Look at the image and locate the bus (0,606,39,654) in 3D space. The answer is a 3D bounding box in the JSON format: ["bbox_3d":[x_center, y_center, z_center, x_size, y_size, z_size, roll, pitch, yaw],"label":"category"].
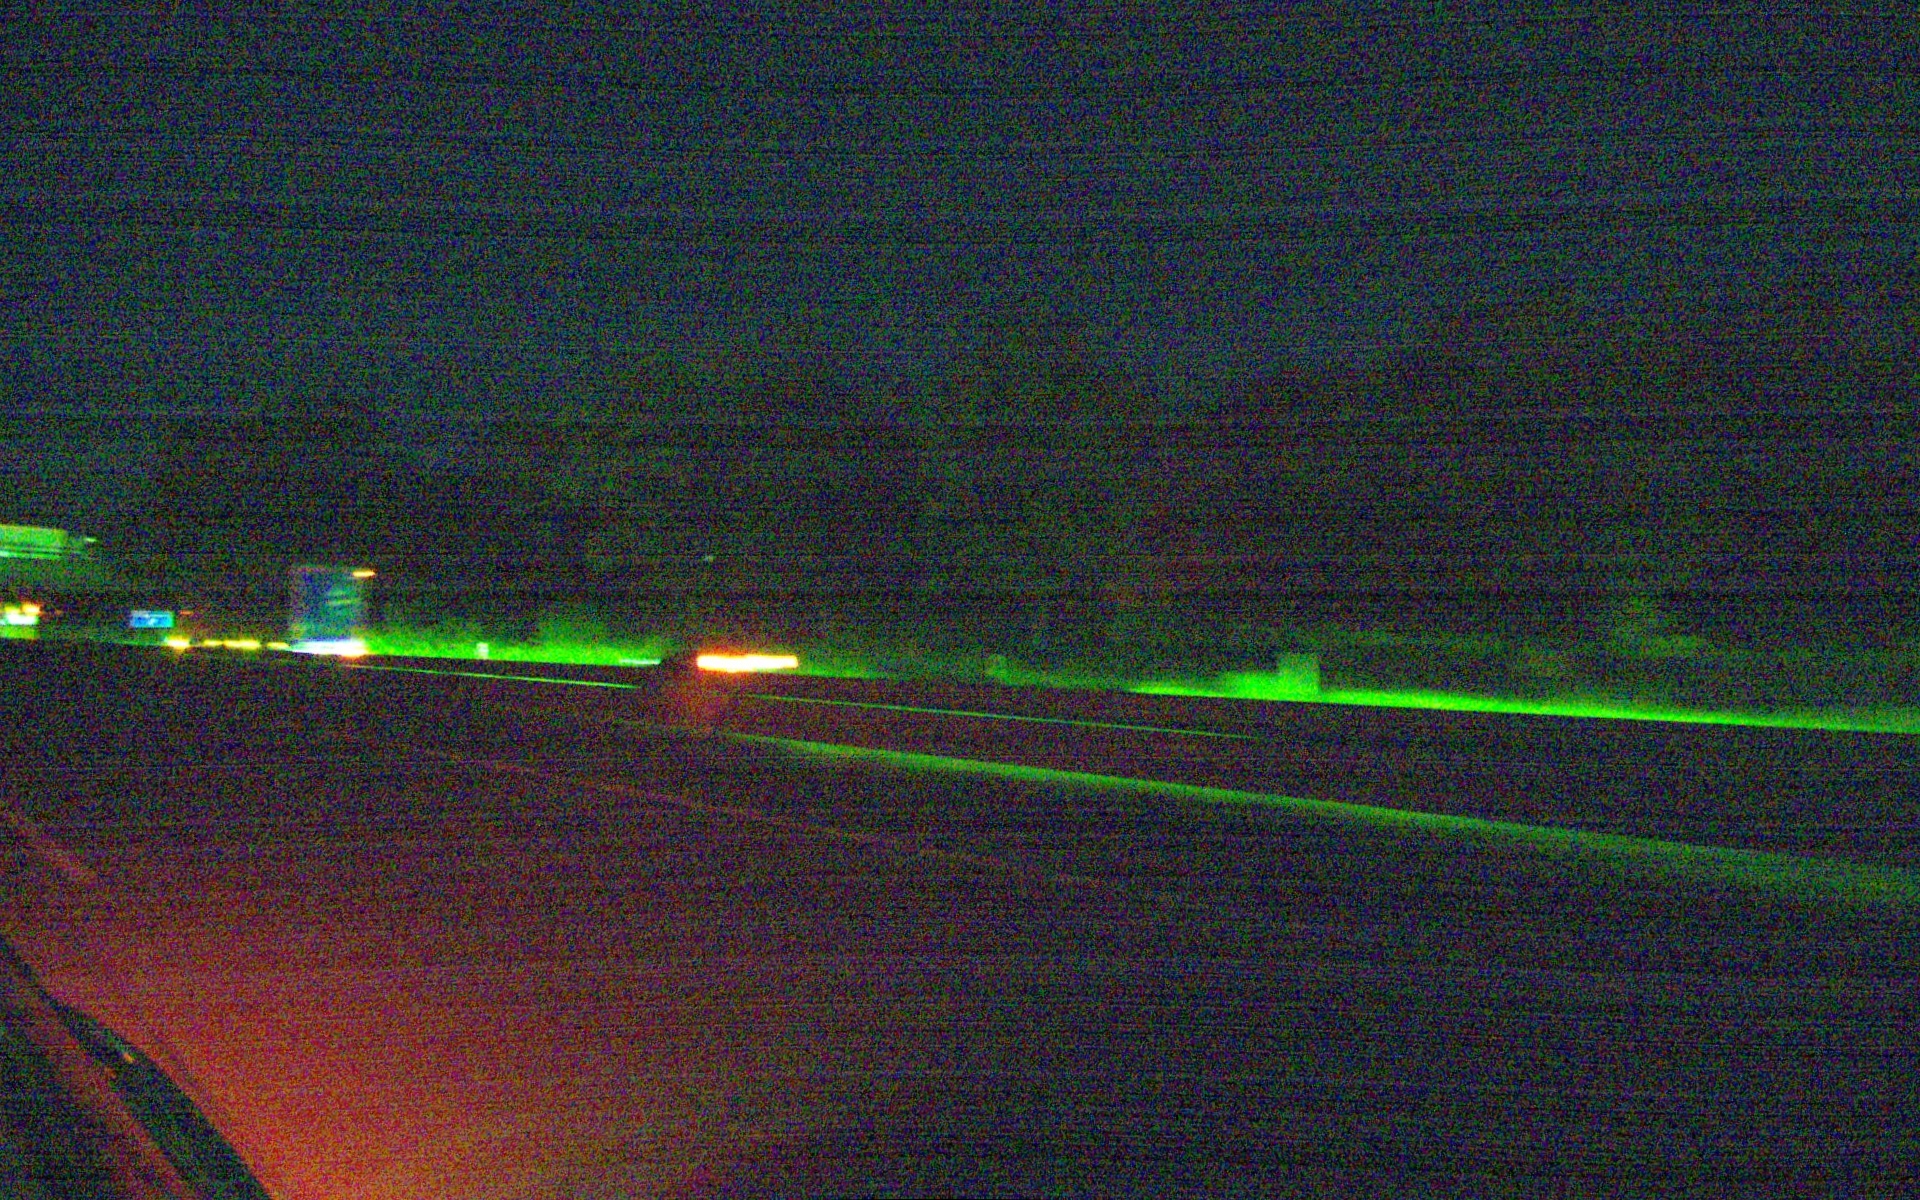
[{"bbox_3d":[-67.152,2.061,70.303,12.502,3.134,2.758,-1,-2,39],"label":"bus"}]

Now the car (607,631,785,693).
[{"bbox_3d":[-6.186,1.365,23.441,4.294,1.281,1.972,-2,-2,42],"label":"car"}]

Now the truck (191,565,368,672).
[{"bbox_3d":[-30.565,0.841,45.022,13.896,4.159,2.718,-1,-2,40],"label":"truck"}]

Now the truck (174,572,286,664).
[{"bbox_3d":[-35.411,0.879,49.013,6.668,4.175,2.745,-1,-2,40],"label":"truck"}]
